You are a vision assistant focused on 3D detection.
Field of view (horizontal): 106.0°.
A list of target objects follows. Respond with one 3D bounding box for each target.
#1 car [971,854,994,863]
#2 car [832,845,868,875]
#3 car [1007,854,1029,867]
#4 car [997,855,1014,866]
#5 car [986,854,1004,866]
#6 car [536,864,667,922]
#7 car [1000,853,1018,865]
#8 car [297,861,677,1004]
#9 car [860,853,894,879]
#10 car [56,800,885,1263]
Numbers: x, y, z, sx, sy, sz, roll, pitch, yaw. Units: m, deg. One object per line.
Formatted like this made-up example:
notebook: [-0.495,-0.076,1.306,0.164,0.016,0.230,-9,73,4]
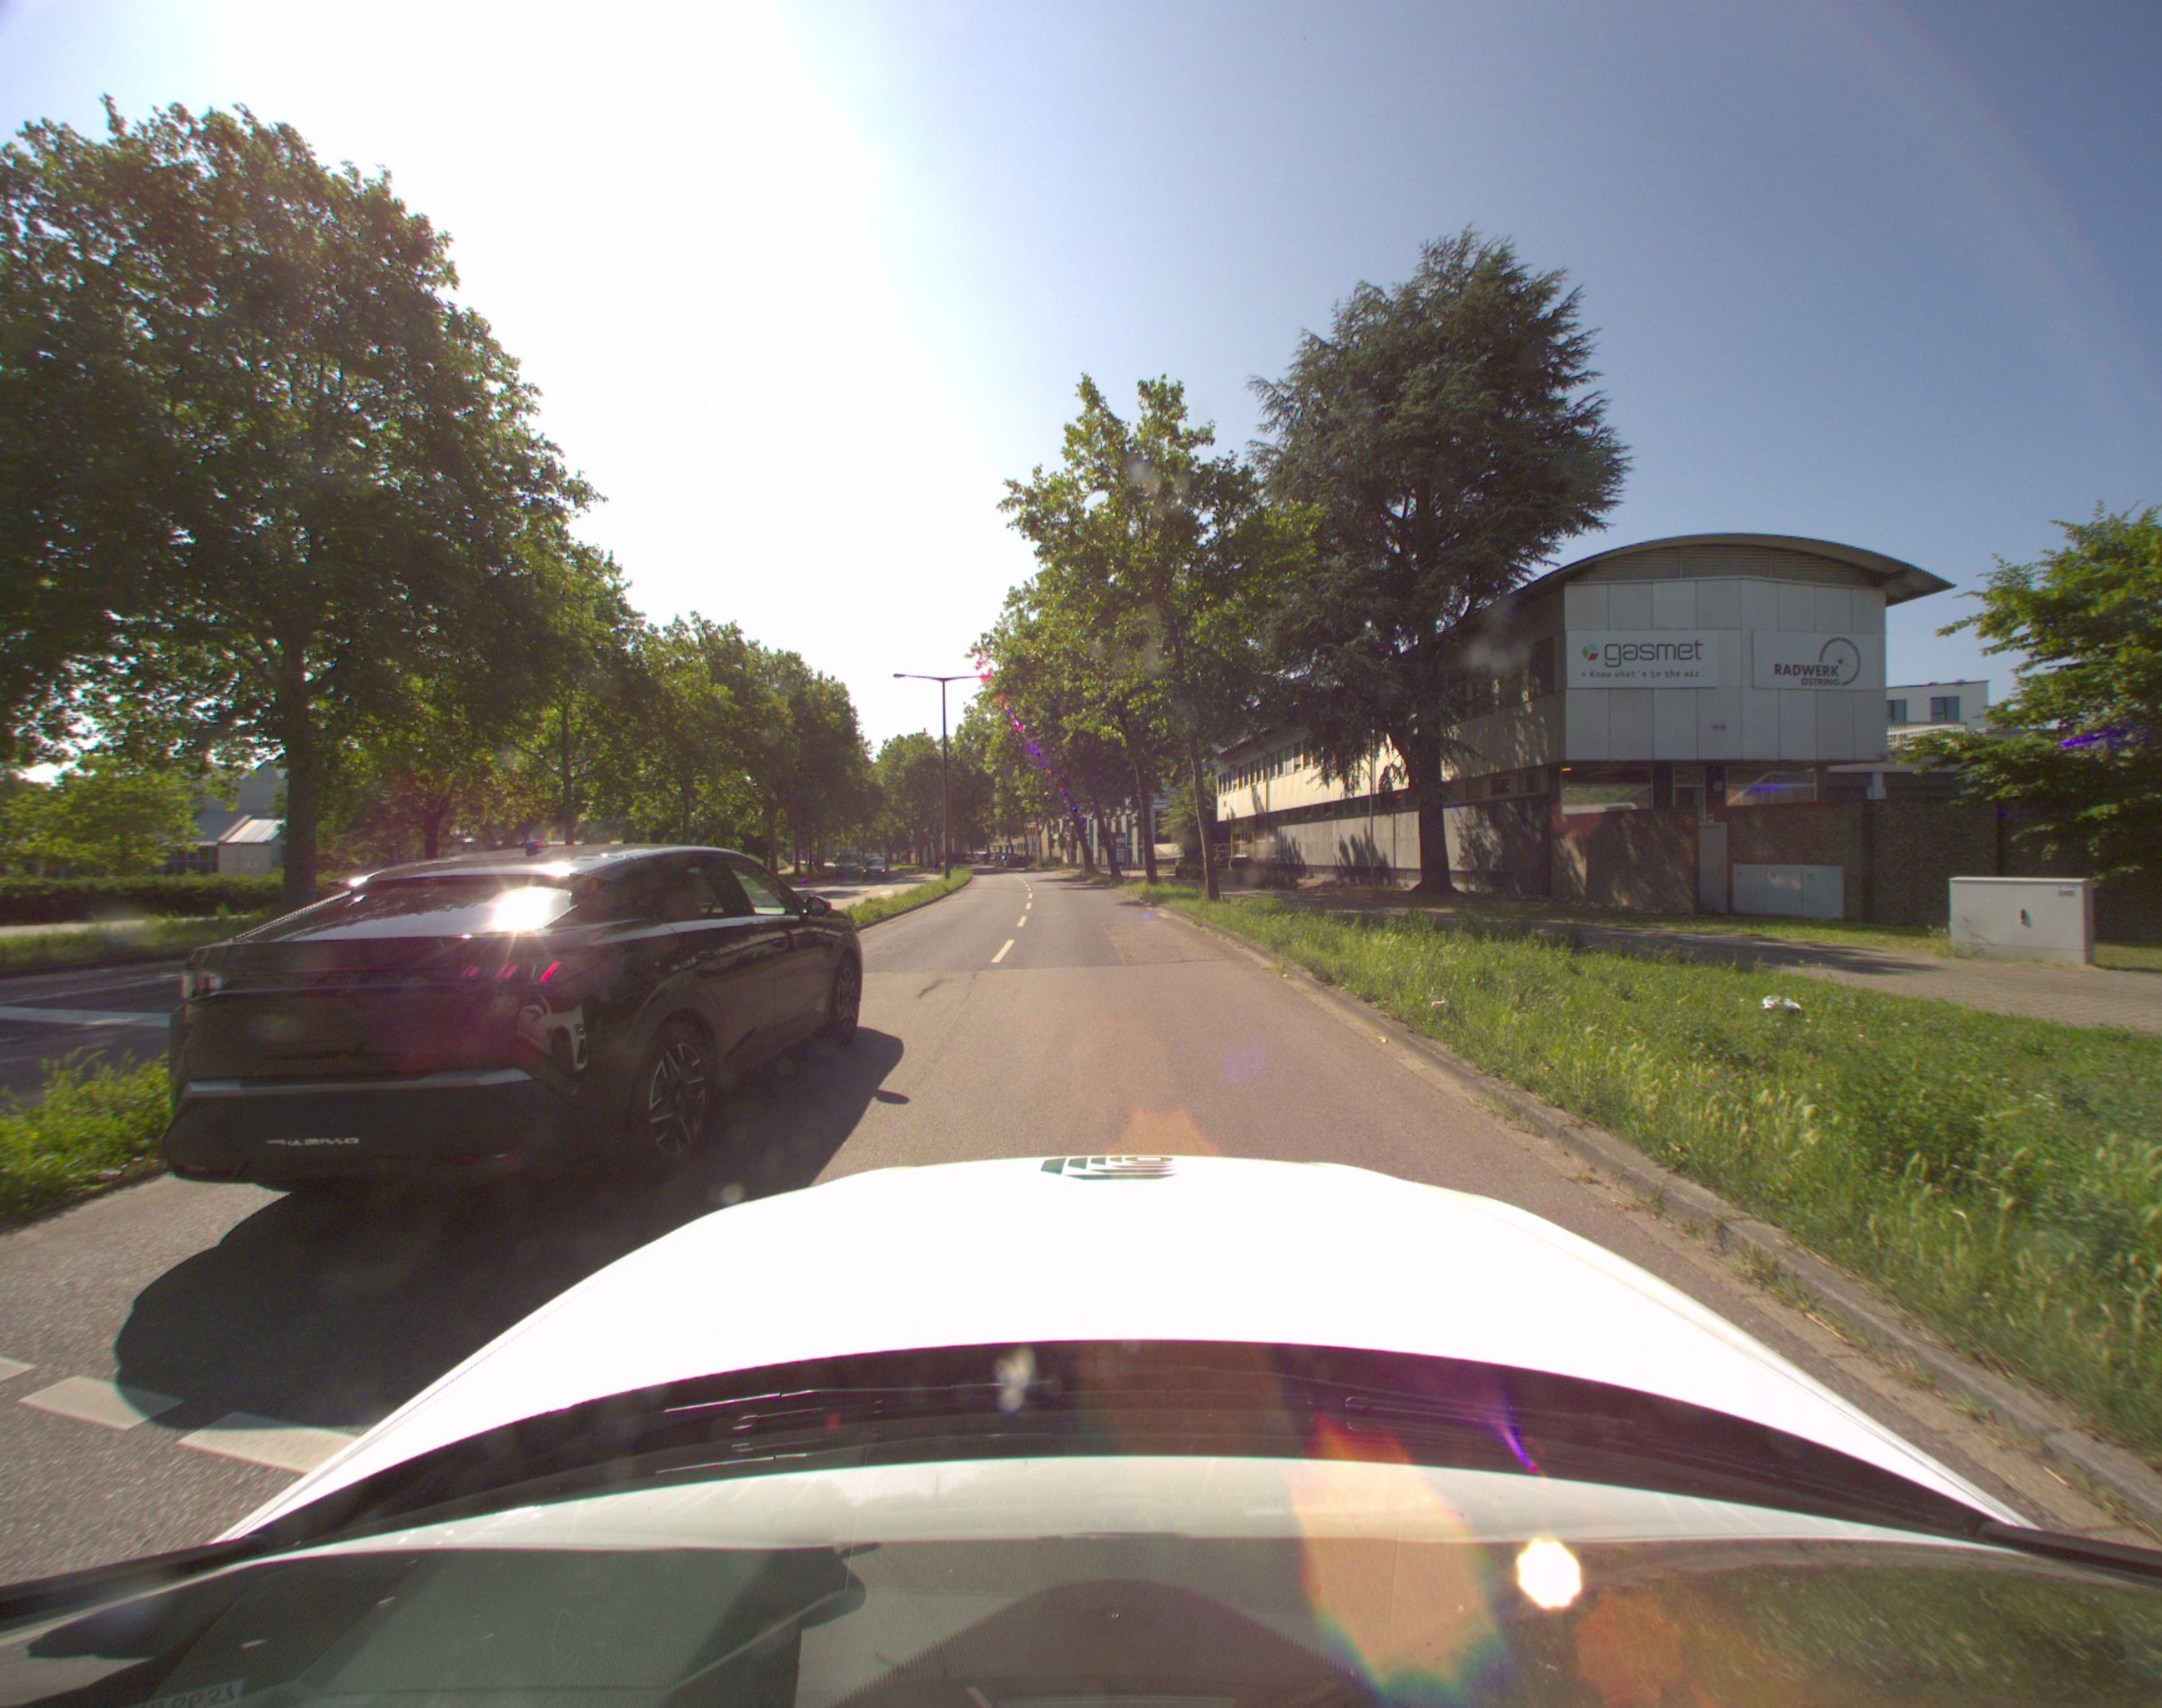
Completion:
car: [-17.303,0.796,143.048,3.565,1.640,1.647,-1,-1,-21]
car: [-21.186,0.582,75.095,2.058,2.613,7.199,-2,-1,-7]
car: [-7.848,0.778,101.174,1.711,1.487,4.691,-2,0,-17]
car: [-10.380,0.841,111.765,1.709,1.455,4.634,-1,0,-13]
car: [-13.075,0.896,123.349,1.711,1.669,4.505,-1,0,-18]
car: [-15.167,1.166,26.067,1.705,1.589,4.428,-2,0,-3]
car: [-9.442,0.702,106.483,1.709,1.487,4.082,-1,0,-13]
car: [-7.456,0.864,10.844,1.685,1.508,4.137,-1,0,7]
car: [-15.705,0.894,62.921,1.683,1.839,4.985,-2,0,-5]
car: [-2.804,0.648,5.237,1.865,1.696,4.437,-1,0,2]
